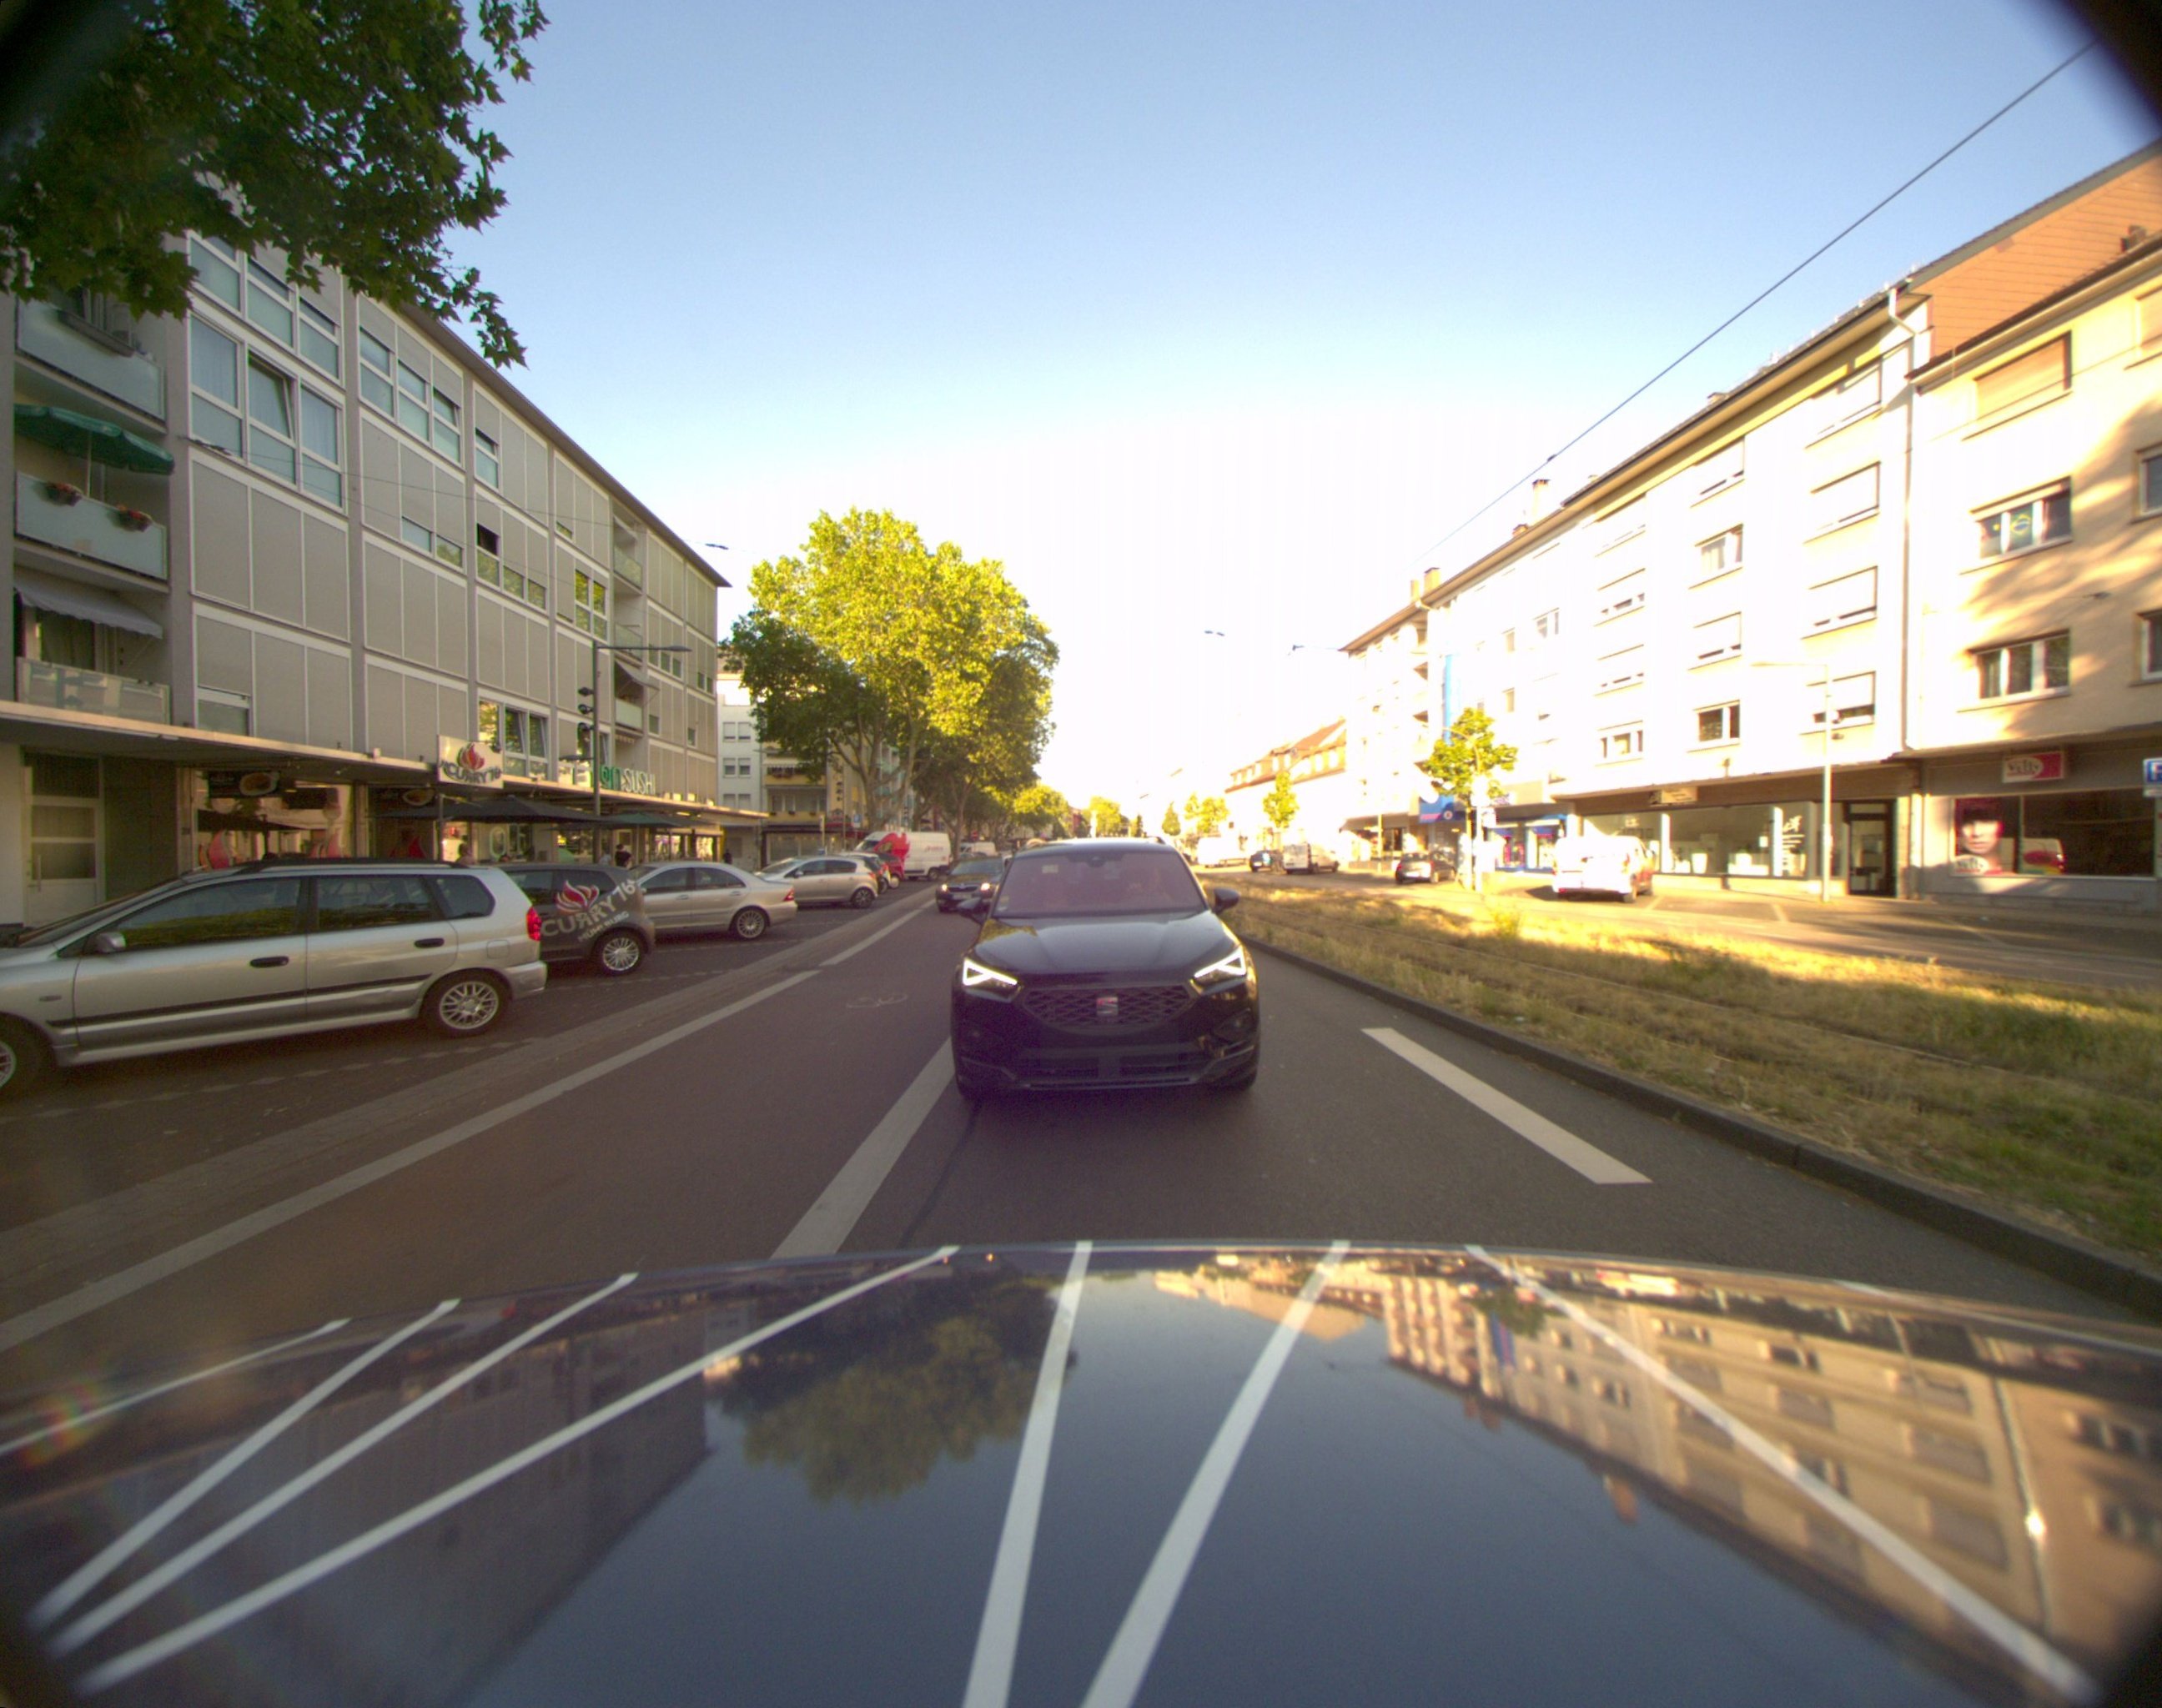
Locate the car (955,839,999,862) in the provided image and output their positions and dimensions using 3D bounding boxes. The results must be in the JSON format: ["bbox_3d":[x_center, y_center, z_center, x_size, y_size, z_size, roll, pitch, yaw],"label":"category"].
[{"bbox_3d":[-11.595,-0.423,85.060,1.973,2.454,4.605,1,1,44],"label":"car"}]

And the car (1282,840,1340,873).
[{"bbox_3d":[14.516,0.104,47.849,1.853,1.927,4.513,-1,1,40],"label":"car"}]

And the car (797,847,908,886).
[{"bbox_3d":[-9.174,0.510,30.557,3.948,1.421,1.672,2,2,-30],"label":"car"}]

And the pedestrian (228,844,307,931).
[{"bbox_3d":[-15.145,0.606,14.165,0.583,1.573,0.771,0,1,2],"label":"pedestrian"}]

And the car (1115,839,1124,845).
[{"bbox_3d":[11.546,-3.643,228.285,1.999,1.783,3.998,0,1,-4],"label":"car"}]

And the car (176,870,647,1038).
[{"bbox_3d":[-7.624,0.960,9.015,1.672,1.420,3.950,2,1,38],"label":"car"}]

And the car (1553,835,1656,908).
[{"bbox_3d":[15.617,0.446,22.594,1.853,1.888,4.007,-1,2,44],"label":"car"}]

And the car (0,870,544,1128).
[{"bbox_3d":[-6.899,0.949,6.028,1.672,1.533,3.993,2,1,38],"label":"car"}]

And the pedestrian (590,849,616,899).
[{"bbox_3d":[-15.633,0.638,24.873,0.537,1.630,0.478,0,1,-4],"label":"pedestrian"}]

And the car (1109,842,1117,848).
[{"bbox_3d":[8.600,-2.315,204.379,1.846,1.571,4.449,0,1,-1],"label":"car"}]

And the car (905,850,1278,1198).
[{"bbox_3d":[0.078,0.838,5.768,1.785,1.639,3.999,-2,1,1],"label":"car"}]

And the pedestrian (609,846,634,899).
[{"bbox_3d":[-15.068,0.593,24.920,0.545,1.710,0.457,0,1,-4],"label":"pedestrian"}]

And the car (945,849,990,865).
[{"bbox_3d":[-10.848,0.273,72.919,1.778,1.396,3.943,1,1,44],"label":"car"}]

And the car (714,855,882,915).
[{"bbox_3d":[-7.548,0.787,20.506,3.950,1.420,1.555,1,1,-45],"label":"car"}]

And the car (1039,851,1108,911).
[{"bbox_3d":[-0.212,0.700,21.690,1.729,1.467,3.999,-2,1,-1],"label":"car"}]

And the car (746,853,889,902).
[{"bbox_3d":[-8.295,0.723,24.006,3.949,1.420,1.672,1,1,-34],"label":"car"}]

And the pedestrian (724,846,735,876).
[{"bbox_3d":[-20.496,0.423,44.350,0.481,1.720,0.347,-1,1,-38],"label":"pedestrian"}]

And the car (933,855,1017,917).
[{"bbox_3d":[-2.851,0.820,21.268,1.729,1.443,4.227,-2,1,-1],"label":"car"}]

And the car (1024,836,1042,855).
[{"bbox_3d":[-8.154,-1.418,128.648,2.660,2.989,7.131,-2,1,-2],"label":"car"}]

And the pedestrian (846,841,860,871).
[{"bbox_3d":[-15.603,0.138,52.025,0.748,2.002,0.764,0,1,-4],"label":"pedestrian"}]

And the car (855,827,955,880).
[{"bbox_3d":[-8.707,0.003,37.845,4.606,2.479,1.672,0,-1,-44],"label":"car"}]

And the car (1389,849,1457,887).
[{"bbox_3d":[15.349,0.591,33.995,1.731,1.489,4.008,-1,1,40],"label":"car"}]

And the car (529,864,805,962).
[{"bbox_3d":[-7.117,0.919,13.381,1.592,1.393,3.950,2,1,41],"label":"car"}]

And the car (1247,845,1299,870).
[{"bbox_3d":[13.792,0.236,54.520,3.922,1.704,1.853,-2,1,-45],"label":"car"}]

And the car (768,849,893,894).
[{"bbox_3d":[-8.958,0.632,27.270,3.948,1.421,1.672,2,2,-32],"label":"car"}]

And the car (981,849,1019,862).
[{"bbox_3d":[-8.801,0.178,82.628,1.778,1.326,3.943,1,1,44],"label":"car"}]

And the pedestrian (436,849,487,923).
[{"bbox_3d":[-13.462,0.684,16.519,0.561,1.567,0.642,0,1,-5],"label":"pedestrian"}]

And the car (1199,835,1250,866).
[{"bbox_3d":[13.023,-0.372,68.608,1.922,2.599,6.601,-1,1,34],"label":"car"}]

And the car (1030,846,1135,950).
[{"bbox_3d":[0.009,0.704,14.443,1.646,1.646,3.999,-2,1,-1],"label":"car"}]
